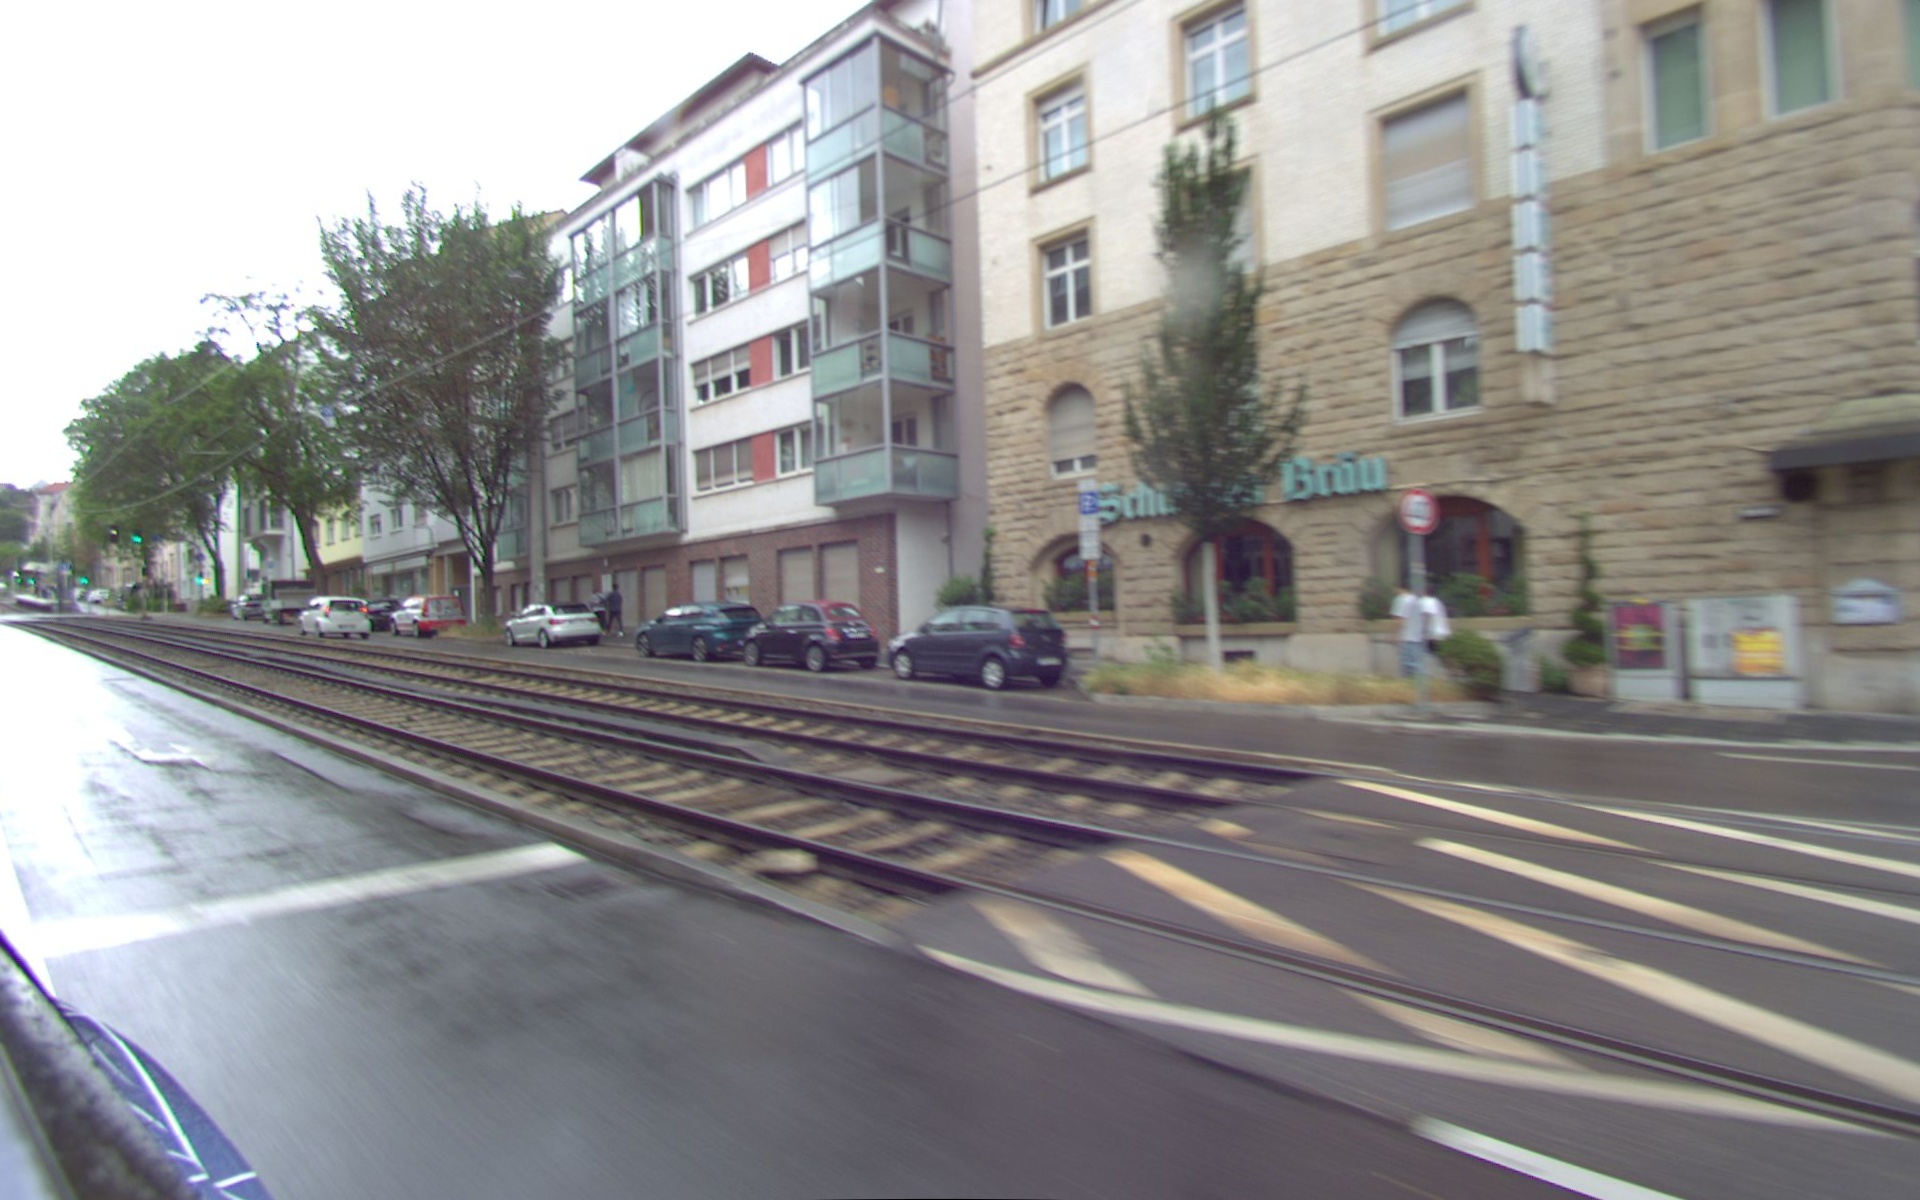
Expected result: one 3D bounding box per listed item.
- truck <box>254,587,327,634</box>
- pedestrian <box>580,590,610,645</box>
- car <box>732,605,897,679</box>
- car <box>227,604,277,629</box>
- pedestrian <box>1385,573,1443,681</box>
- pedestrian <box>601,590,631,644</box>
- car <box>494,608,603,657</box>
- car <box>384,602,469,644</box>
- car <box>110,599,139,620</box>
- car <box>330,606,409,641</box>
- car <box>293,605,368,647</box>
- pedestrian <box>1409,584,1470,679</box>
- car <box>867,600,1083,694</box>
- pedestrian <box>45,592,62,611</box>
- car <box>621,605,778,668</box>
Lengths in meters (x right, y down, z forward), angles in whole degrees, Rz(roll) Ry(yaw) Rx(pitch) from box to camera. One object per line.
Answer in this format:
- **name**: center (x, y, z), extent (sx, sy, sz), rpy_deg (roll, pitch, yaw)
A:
- **truck**: center (-36.368, 0.542, 54.888), extent (2.166, 2.363, 6.358), rpy_deg (1, 0, -44)
- **pedestrian**: center (-12.000, 0.553, 33.263), extent (0.783, 1.786, 0.666), rpy_deg (0, 0, 45)
- **car**: center (-3.275, 0.871, 22.424), extent (3.525, 1.510, 1.788), rpy_deg (-1, -1, 42)
- **car**: center (-43.376, 0.977, 61.978), extent (4.362, 1.471, 1.685), rpy_deg (0, 1, 44)
- **pedestrian**: center (6.813, 0.398, 15.197), extent (0.511, 1.582, 0.644), rpy_deg (1, -1, -44)
- **pedestrian**: center (-11.485, 0.561, 33.760), extent (0.783, 1.786, 0.666), rpy_deg (0, 0, 45)
- **car**: center (-13.036, 0.981, 31.929), extent (4.132, 1.345, 1.683), rpy_deg (0, 2, 45)
- **car**: center (-21.076, 0.872, 39.909), extent (4.159, 1.581, 1.756), rpy_deg (0, 0, 43)
- **car**: center (-84.616, 0.971, 102.512), extent (1.970, 2.029, 4.003), rpy_deg (0, 0, -44)
- **car**: center (-26.250, 1.008, 44.943), extent (4.470, 1.451, 1.885), rpy_deg (0, 0, 43)
- **car**: center (-23.444, 0.938, 37.628), extent (1.608, 1.493, 3.583), rpy_deg (0, 0, -45)
- **pedestrian**: center (7.429, 0.477, 15.681), extent (0.646, 1.432, 0.745), rpy_deg (-1, -1, 45)
- **car**: center (0.205, 0.801, 18.942), extent (3.896, 1.564, 1.745), rpy_deg (-1, 0, 44)
- **pedestrian**: center (-85.373, 0.143, 95.285), extent (0.966, 1.796, 1.104), rpy_deg (0, -1, 44)
- **car**: center (-6.665, 0.866, 25.632), extent (4.431, 1.466, 1.781), rpy_deg (-1, -1, 44)
